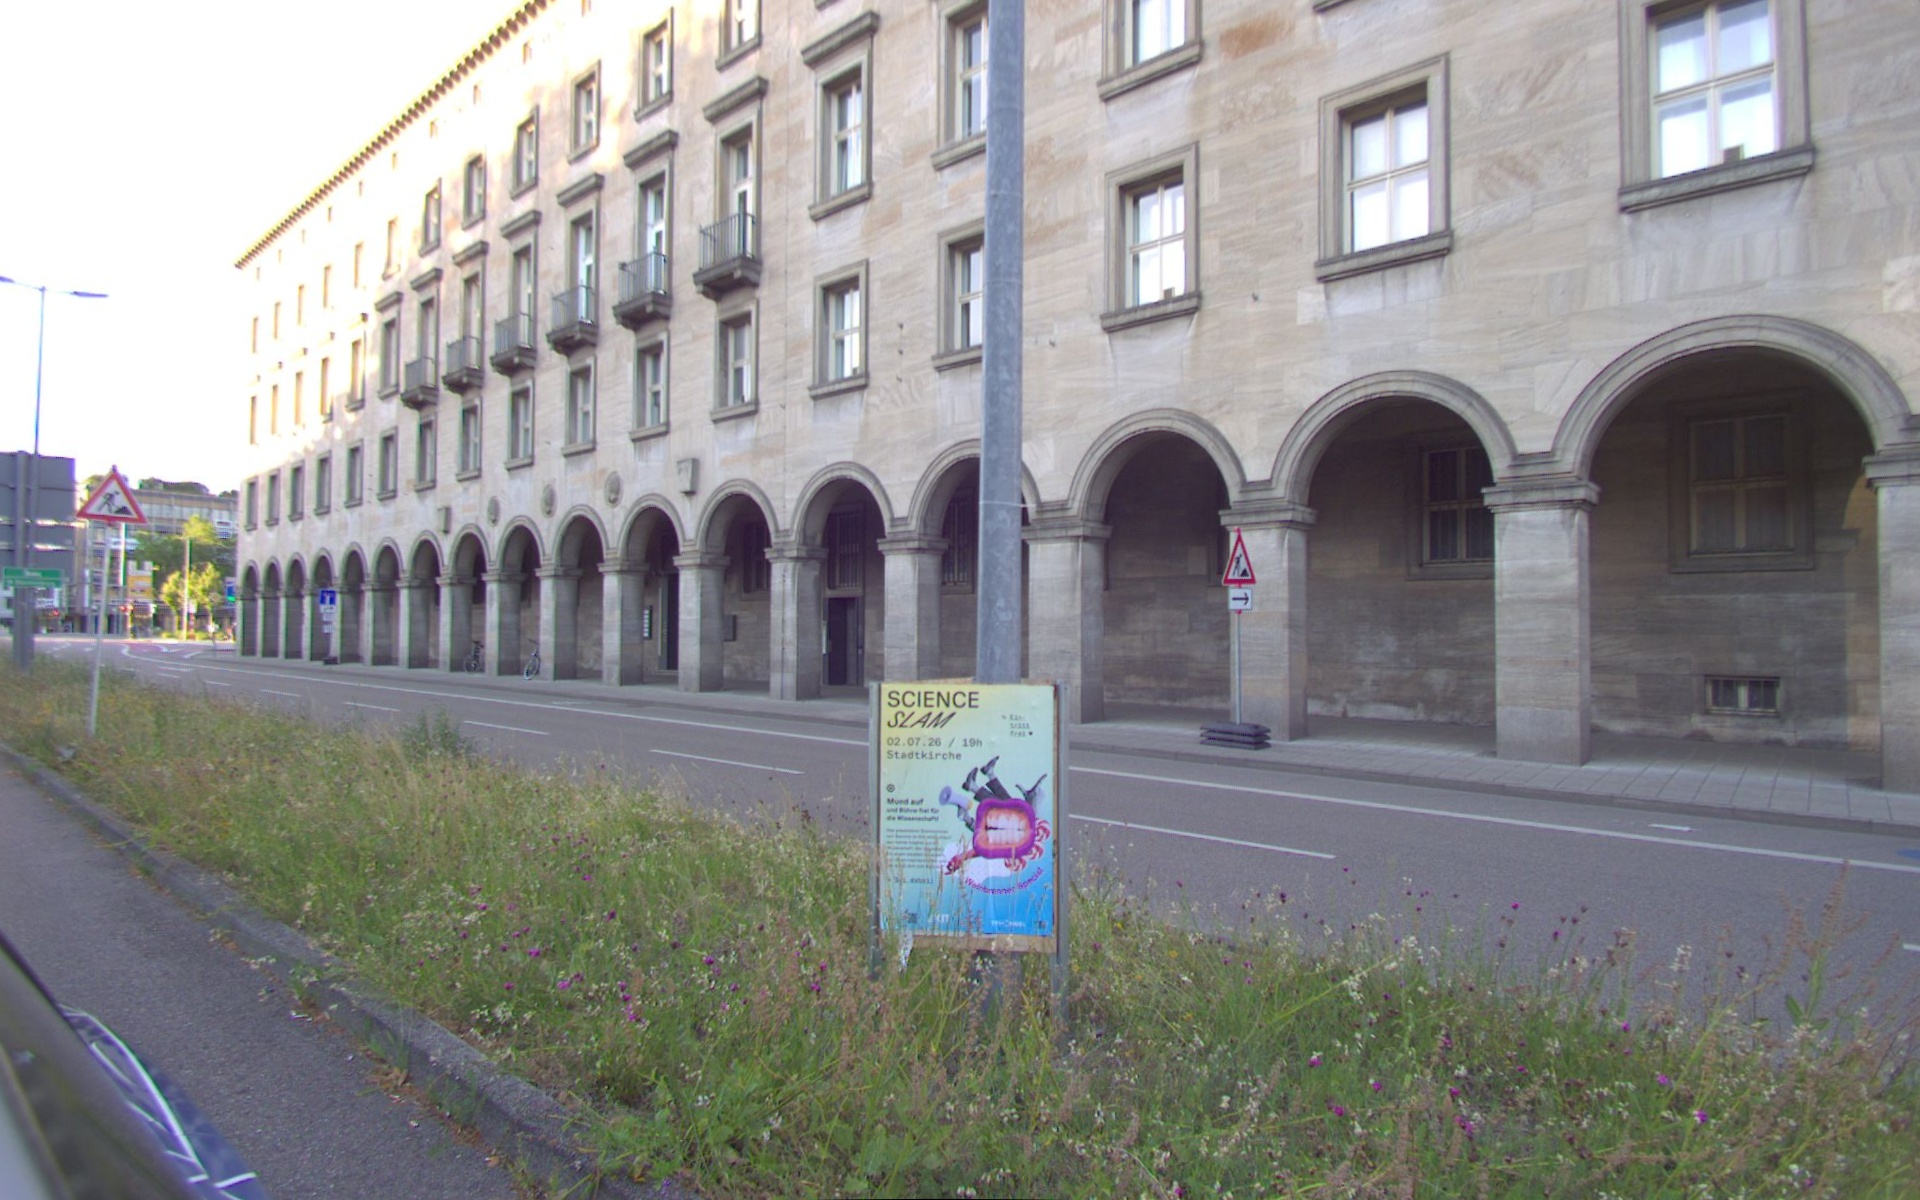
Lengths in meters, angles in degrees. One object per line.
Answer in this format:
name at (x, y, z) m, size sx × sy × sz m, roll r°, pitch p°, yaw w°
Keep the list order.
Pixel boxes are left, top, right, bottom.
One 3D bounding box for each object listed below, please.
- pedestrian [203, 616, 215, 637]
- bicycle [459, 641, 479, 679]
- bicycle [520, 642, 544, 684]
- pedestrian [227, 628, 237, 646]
pedestrian at (-61.923, 2.199, 83.427) m, size 0.506 × 1.771 × 0.630 m, roll -2°, pitch -3°, yaw 41°
bicycle at (-16.104, 1.935, 33.225) m, size 0.505 × 1.188 × 2.431 m, roll 1°, pitch -2°, yaw -25°
bicycle at (-12.732, 1.855, 30.167) m, size 0.505 × 1.130 × 2.431 m, roll 1°, pitch -1°, yaw -20°
pedestrian at (-60.840, 3.091, 84.577) m, size 0.389 × 1.553 × 0.519 m, roll -2°, pitch -3°, yaw 41°
